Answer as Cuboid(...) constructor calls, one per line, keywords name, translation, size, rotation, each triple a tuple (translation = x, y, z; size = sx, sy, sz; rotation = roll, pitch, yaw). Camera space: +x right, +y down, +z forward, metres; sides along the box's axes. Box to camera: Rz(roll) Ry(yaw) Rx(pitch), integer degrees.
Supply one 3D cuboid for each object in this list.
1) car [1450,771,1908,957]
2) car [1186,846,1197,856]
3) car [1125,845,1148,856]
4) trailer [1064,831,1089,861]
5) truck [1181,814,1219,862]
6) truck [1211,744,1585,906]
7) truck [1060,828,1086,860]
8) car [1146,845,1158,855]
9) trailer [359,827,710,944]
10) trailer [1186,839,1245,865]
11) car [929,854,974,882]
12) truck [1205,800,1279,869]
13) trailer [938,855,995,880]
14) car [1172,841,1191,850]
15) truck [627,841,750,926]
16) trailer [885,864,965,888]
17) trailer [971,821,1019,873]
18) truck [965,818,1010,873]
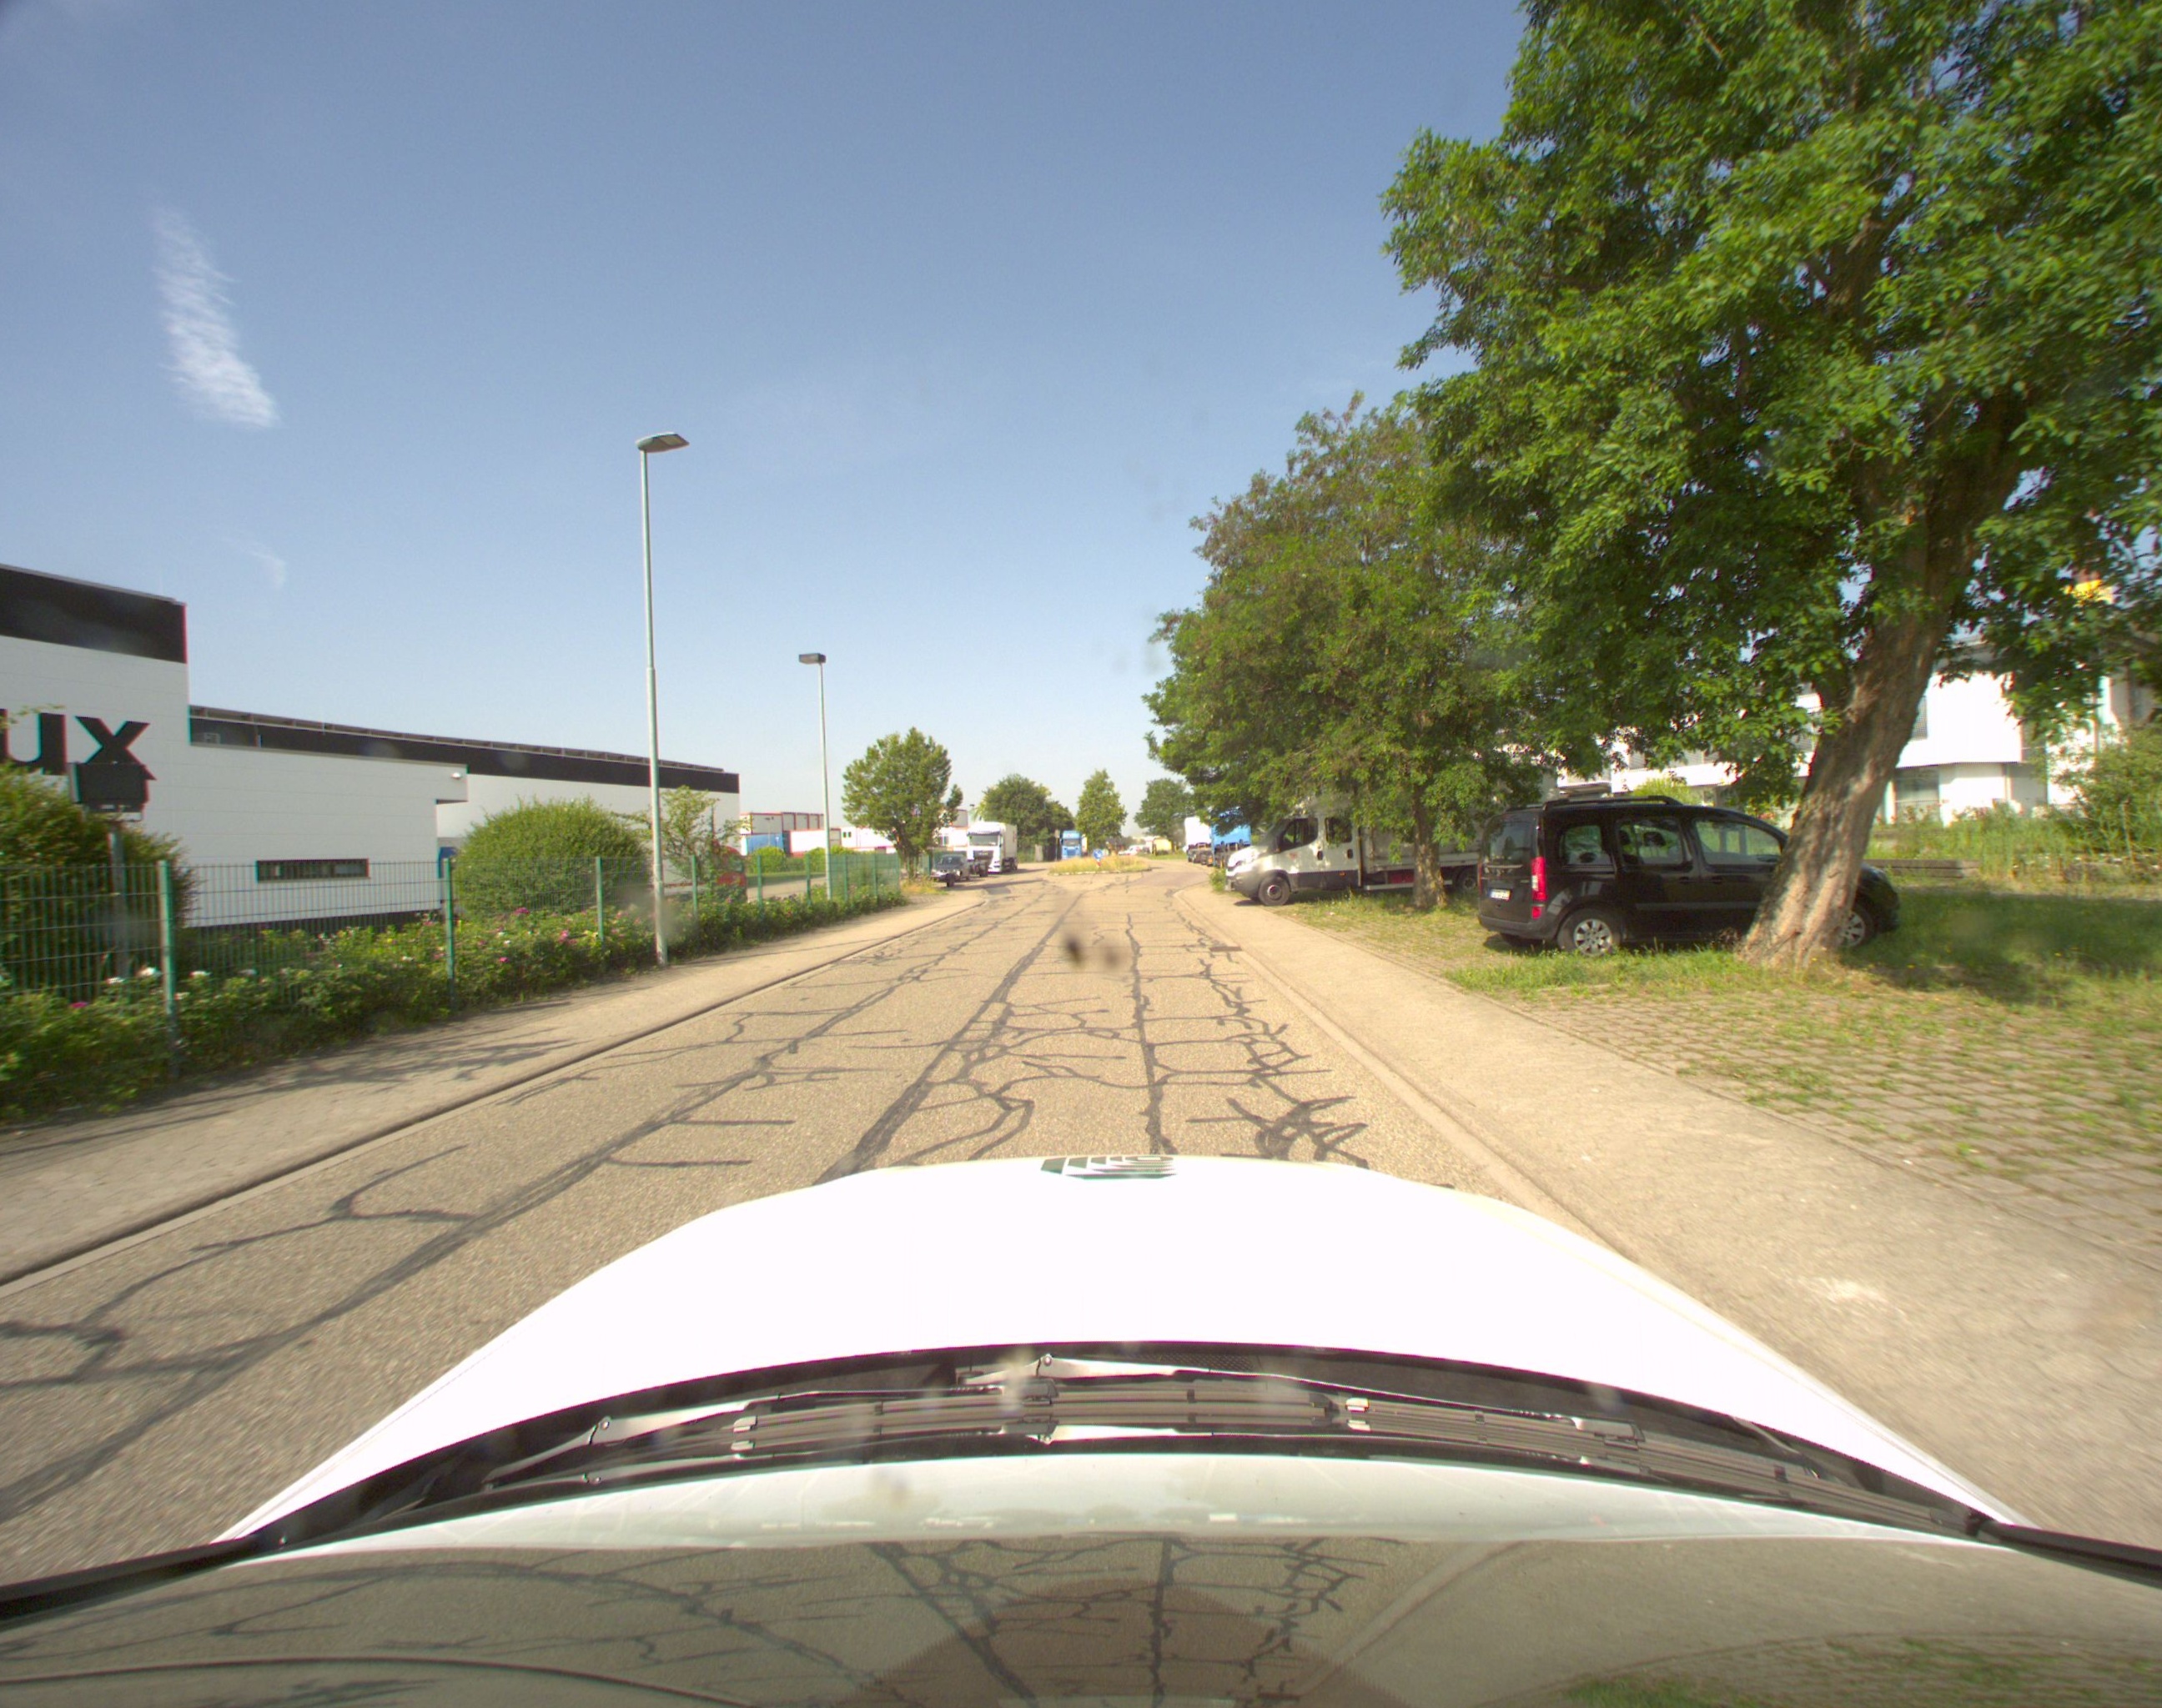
Cuboid(name="car", translation=(6.926, 0.122, 9.860), size=(3.969, 1.838, 2.002), rotation=(-3, 0, 3))
Cuboid(name="car", translation=(18.537, -0.515, 136.589), size=(1.709, 1.618, 4.006), rotation=(-1, -1, 6))
Cuboid(name="car", translation=(13.907, -0.770, 205.937), size=(5.746, 2.734, 2.001), rotation=(0, -1, 2))
Cuboid(name="trailer", translation=(-0.528, -1.053, 114.097), size=(2.820, 3.843, 12.043), rotation=(0, -1, 3))
Cuboid(name="truck", translation=(10.751, -1.435, 73.723), size=(2.735, 3.981, 4.003), rotation=(-5, 0, 3))
Cuboid(name="truck", translation=(7.637, -0.657, 20.491), size=(8.178, 3.370, 2.742), rotation=(-3, -1, 1))
Cuboid(name="truck", translation=(-0.959, -1.173, 105.037), size=(2.814, 3.826, 9.678), rotation=(0, -1, 3))
Cuboid(name="car", translation=(12.624, -0.670, 145.064), size=(1.785, 1.750, 4.002), rotation=(0, -1, 2))
Cuboid(name="trailer", translation=(-22.232, 1.181, 35.163), size=(2.462, 4.042, 13.953), rotation=(-1, -1, 19))
Cuboid(name="trailer", translation=(10.385, -0.168, 64.663), size=(2.734, 1.574, 16.185), rotation=(-5, 0, 3))
Cuboid(name="car", translation=(-7.531, 0.791, 47.752), size=(1.689, 1.561, 4.339), rotation=(0, 0, 3))
Cuboid(name="truck", translation=(9.611, -1.018, 49.782), size=(2.876, 3.535, 9.764), rotation=(-6, -1, 3))
Cuboid(name="trailer", translation=(-7.546, 0.839, 54.142), size=(2.669, 1.453, 5.083), rotation=(-1, 0, 4))
Cuboid(name="car", translation=(14.997, -1.270, 121.712), size=(1.670, 1.330, 3.646), rotation=(0, -1, -14))
Cuboid(name="truck", translation=(-19.988, 1.439, 41.844), size=(2.493, 4.071, 5.569), rotation=(-1, -1, 18))
Cuboid(name="trailer", translation=(-7.738, 1.053, 41.233), size=(2.537, 0.925, 6.712), rotation=(1, 0, 2))
Cuboid(name="trailer", translation=(-6.774, -0.503, 65.199), size=(2.689, 3.922, 7.579), rotation=(0, -1, 2))
Cuboid(name="truck", translation=(-6.945, -0.575, 60.757), size=(2.698, 3.922, 4.299), rotation=(0, -1, 2))
